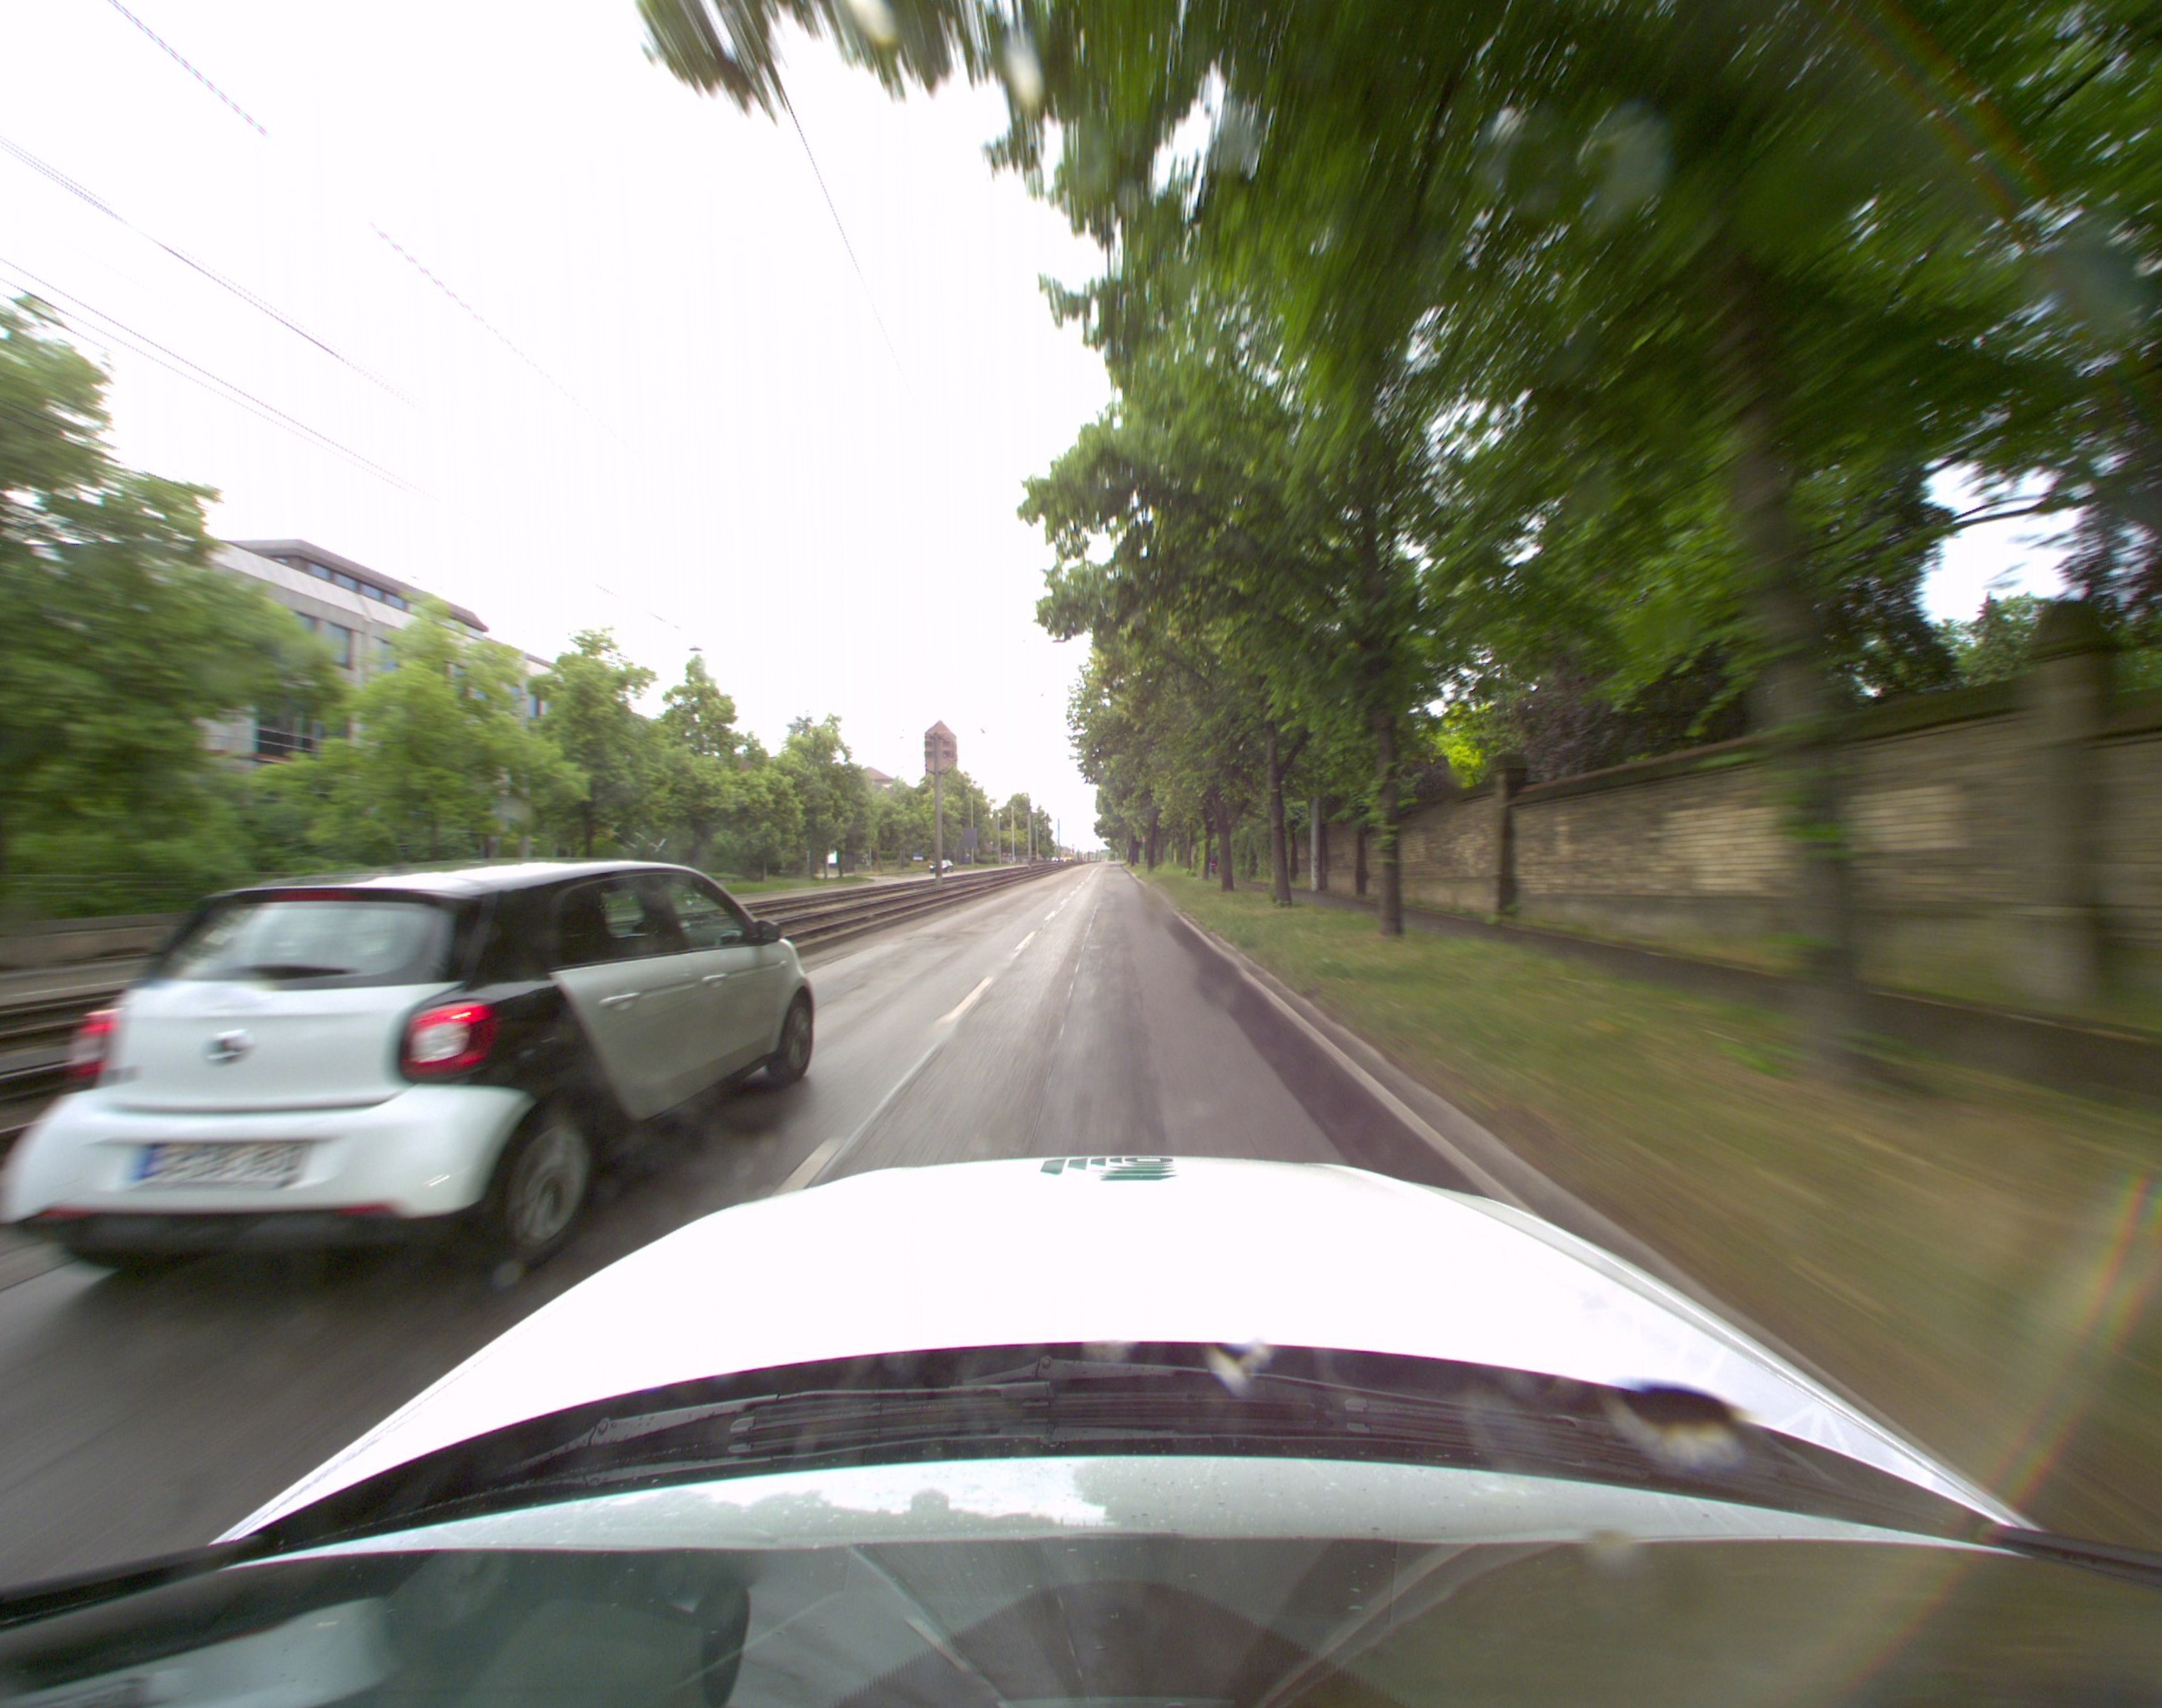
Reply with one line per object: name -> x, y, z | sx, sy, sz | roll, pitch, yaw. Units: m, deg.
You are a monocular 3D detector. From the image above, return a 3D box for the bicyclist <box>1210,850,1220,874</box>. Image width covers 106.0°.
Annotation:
bicyclist -> 7.997, 0.493, 48.698 | 0.532, 1.389, 0.667 | -1, -1, 5

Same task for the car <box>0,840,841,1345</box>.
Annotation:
car -> -2.733, 0.716, 4.348 | 1.669, 1.531, 3.723 | 0, 0, 2

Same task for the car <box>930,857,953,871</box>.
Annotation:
car -> -15.971, 1.173, 93.373 | 1.788, 1.530, 4.622 | -1, 0, 1

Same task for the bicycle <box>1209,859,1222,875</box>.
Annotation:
bicycle -> 7.985, 0.760, 48.421 | 0.540, 0.948, 2.553 | -1, 0, 5
